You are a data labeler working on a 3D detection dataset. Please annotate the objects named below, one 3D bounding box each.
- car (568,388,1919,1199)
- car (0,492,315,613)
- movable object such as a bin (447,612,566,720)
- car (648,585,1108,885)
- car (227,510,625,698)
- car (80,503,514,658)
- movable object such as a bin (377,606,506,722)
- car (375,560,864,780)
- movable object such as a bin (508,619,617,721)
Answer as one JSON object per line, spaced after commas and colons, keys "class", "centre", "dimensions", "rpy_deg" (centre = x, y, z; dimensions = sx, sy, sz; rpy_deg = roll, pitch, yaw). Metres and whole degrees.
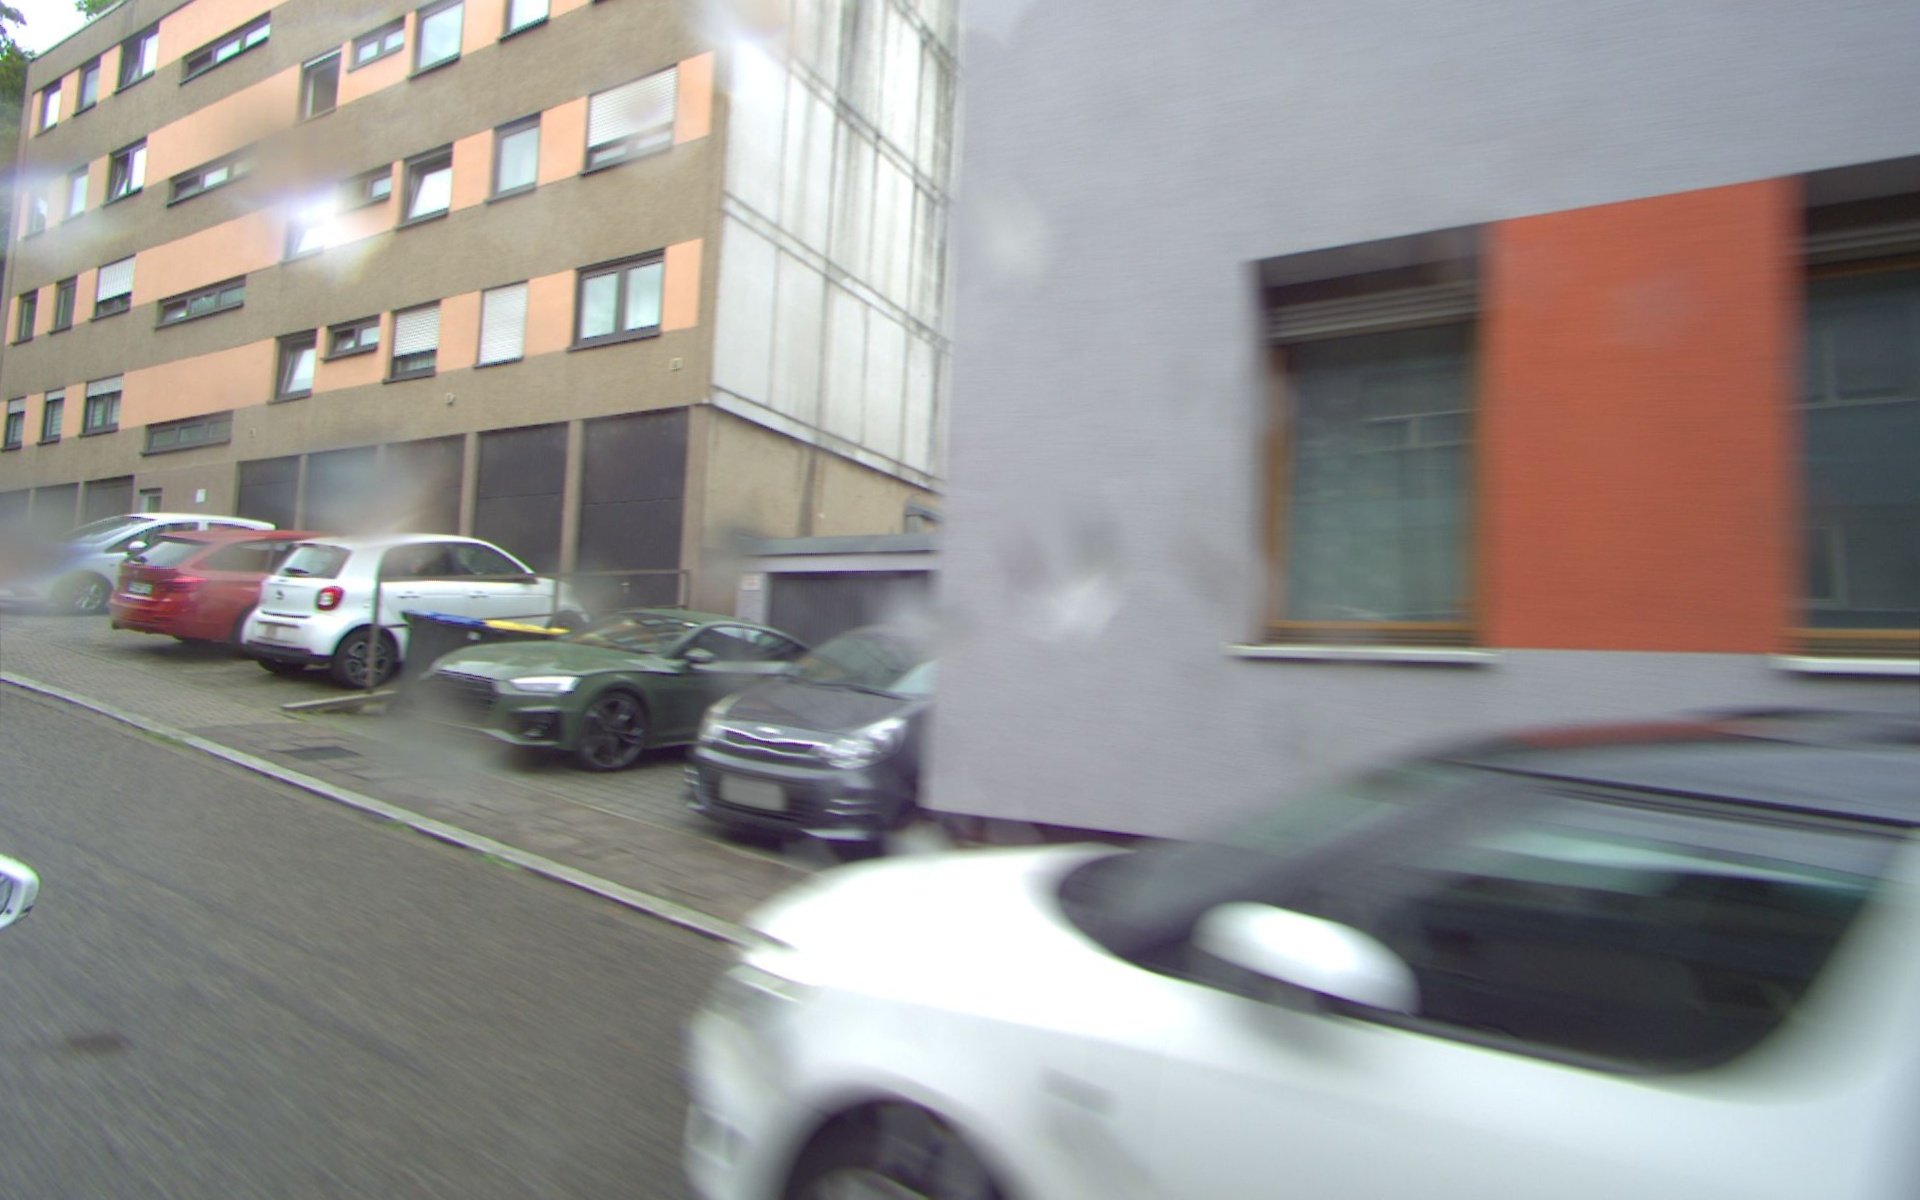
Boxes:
{"class": "car", "centre": [1.363, 0.735, 2.005], "dimensions": [3.931, 1.782, 1.645], "rpy_deg": [8, -2, 28]}
{"class": "car", "centre": [-12.367, -0.697, 15.325], "dimensions": [1.662, 1.551, 3.964], "rpy_deg": [7, 4, 26]}
{"class": "movable object such as a bin", "centre": [-4.784, 0.705, 10.632], "dimensions": [0.759, 1.032, 0.725], "rpy_deg": [5, -3, 29]}
{"class": "car", "centre": [-0.343, 0.911, 7.832], "dimensions": [1.631, 1.569, 3.811], "rpy_deg": [7, -1, 28]}
{"class": "car", "centre": [-6.064, -0.019, 11.877], "dimensions": [1.698, 1.726, 3.826], "rpy_deg": [7, 4, 28]}
{"class": "car", "centre": [-8.293, -0.310, 13.053], "dimensions": [1.844, 1.552, 4.339], "rpy_deg": [7, 5, 28]}
{"class": "movable object such as a bin", "centre": [-5.119, 0.643, 9.949], "dimensions": [0.759, 1.032, 0.725], "rpy_deg": [5, -3, 29]}
{"class": "car", "centre": [-2.961, 0.684, 9.787], "dimensions": [1.861, 1.483, 4.279], "rpy_deg": [7, -1, 28]}
{"class": "movable object such as a bin", "centre": [-4.461, 0.791, 11.316], "dimensions": [0.759, 1.032, 0.725], "rpy_deg": [5, -3, 29]}
